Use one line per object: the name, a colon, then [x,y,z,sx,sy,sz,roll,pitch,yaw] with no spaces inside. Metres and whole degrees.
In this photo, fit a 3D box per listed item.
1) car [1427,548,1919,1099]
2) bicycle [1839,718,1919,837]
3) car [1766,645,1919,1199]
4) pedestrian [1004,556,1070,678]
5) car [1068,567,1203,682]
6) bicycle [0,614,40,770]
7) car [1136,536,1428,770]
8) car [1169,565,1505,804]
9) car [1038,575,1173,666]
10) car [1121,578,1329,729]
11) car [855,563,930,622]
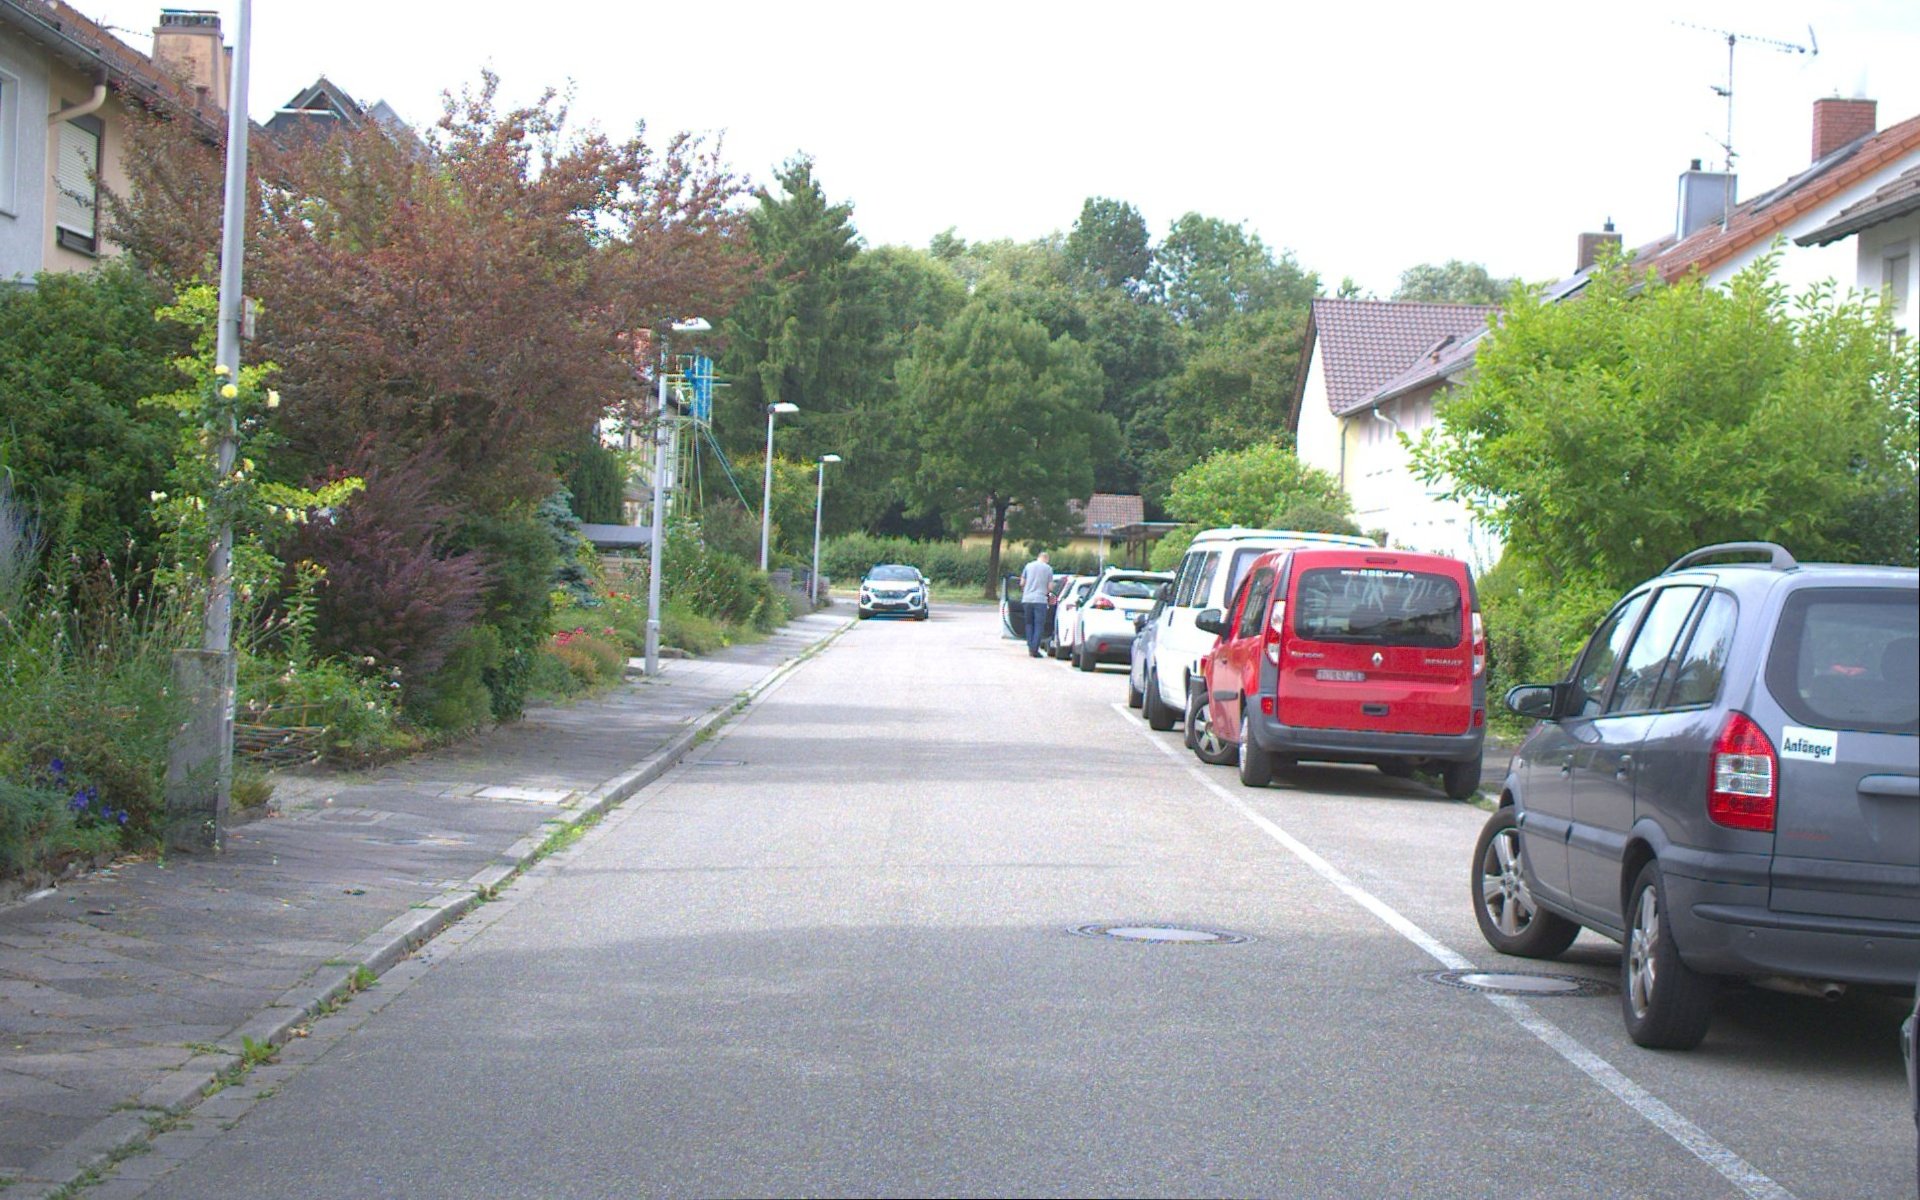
car: [3.081,0.675,12.711,1.867,1.648,4.465,2,1,-2]
bicycle: [7.711,1.375,26.797,1.586,0.863,0.746,1,1,-31]
car: [3.106,0.915,6.272,1.867,1.402,4.768,4,1,-3]
pedestrian: [1.313,0.278,58.730,0.912,2.007,0.951,4,0,-3]
car: [2.593,0.337,51.512,1.714,1.538,3.973,4,1,0]
bicycle: [-6.219,0.504,20.507,1.701,0.889,0.528,4,2,41]
car: [2.888,0.423,31.881,2.020,1.940,4.748,2,1,-2]
car: [2.842,0.585,26.882,1.810,1.645,4.411,2,1,-4]
car: [2.459,0.325,59.088,1.838,1.408,4.637,2,1,-3]
car: [2.788,0.532,36.987,1.900,1.455,4.129,2,1,0]
car: [-1.861,-0.237,96.355,1.934,1.551,4.634,2,1,0]
